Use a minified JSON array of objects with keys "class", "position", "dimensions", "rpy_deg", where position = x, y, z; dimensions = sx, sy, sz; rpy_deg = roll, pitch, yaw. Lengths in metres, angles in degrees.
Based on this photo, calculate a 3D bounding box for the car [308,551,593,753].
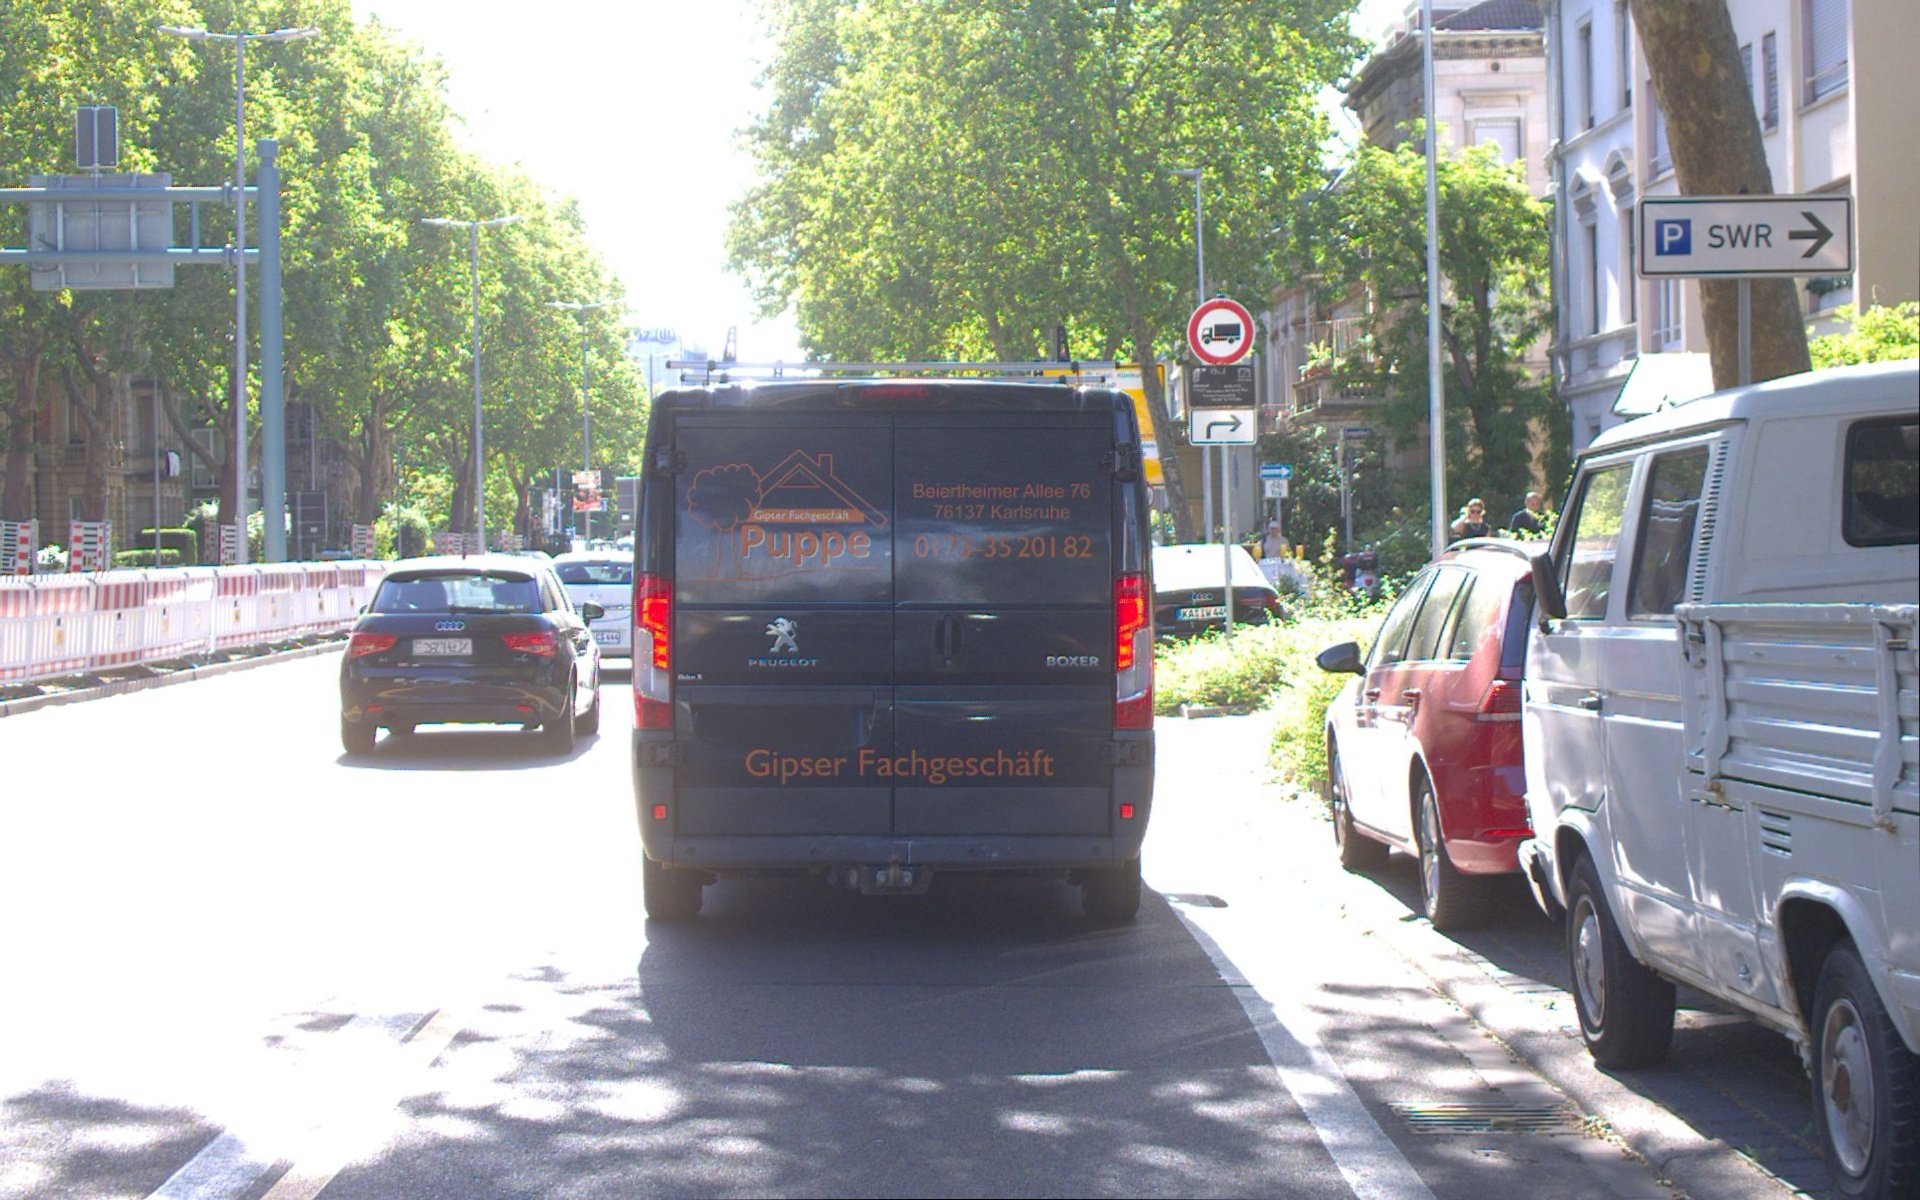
[{"class":"car","position":[-3.783,0.341,26.111],"dimensions":[1.746,1.402,4.001],"rpy_deg":[1,1,-3]}]

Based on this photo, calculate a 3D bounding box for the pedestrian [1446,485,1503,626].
[{"class":"pedestrian","position":[6.518,-0.568,43.567],"dimensions":[0.675,1.749,0.875],"rpy_deg":[-1,1,8]}]

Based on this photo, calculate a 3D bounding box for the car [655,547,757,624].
[{"class":"car","position":[-4.186,-0.259,56.945],"dimensions":[1.421,1.221,3.438],"rpy_deg":[-1,1,0]}]

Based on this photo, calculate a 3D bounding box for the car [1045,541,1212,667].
[{"class":"car","position":[1.985,0.016,41.340],"dimensions":[1.844,1.403,3.800],"rpy_deg":[-1,1,1]}]

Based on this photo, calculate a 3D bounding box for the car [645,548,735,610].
[{"class":"car","position":[-6.884,-0.557,87.898],"dimensions":[1.993,1.465,4.000],"rpy_deg":[1,2,0]}]

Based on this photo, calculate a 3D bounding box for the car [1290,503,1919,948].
[{"class":"car","position":[2.552,0.407,14.309],"dimensions":[1.821,1.502,4.677],"rpy_deg":[-2,1,-1]}]

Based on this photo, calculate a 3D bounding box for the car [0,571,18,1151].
[{"class":"car","position":[-3.241,0.669,6.157],"dimensions":[1.925,1.407,4.626],"rpy_deg":[1,1,-1]}]

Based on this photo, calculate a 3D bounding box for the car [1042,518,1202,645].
[{"class":"car","position":[2.223,-0.273,48.128],"dimensions":[1.844,1.638,3.801],"rpy_deg":[-2,1,-2]}]

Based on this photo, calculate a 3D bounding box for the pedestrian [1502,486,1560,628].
[{"class":"pedestrian","position":[7.170,-0.541,43.209],"dimensions":[0.654,1.749,1.013],"rpy_deg":[-1,1,8]}]

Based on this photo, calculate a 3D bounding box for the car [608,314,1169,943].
[{"class":"car","position":[-0.339,0.054,14.824],"dimensions":[2.095,2.347,3.933],"rpy_deg":[0,2,-2]}]

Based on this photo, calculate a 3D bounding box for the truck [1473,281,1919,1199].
[{"class":"truck","position":[2.654,0.290,8.661],"dimensions":[1.876,1.875,4.454],"rpy_deg":[-2,1,-2]}]

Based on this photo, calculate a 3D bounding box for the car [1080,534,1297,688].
[{"class":"car","position":[2.266,0.073,35.172],"dimensions":[1.844,1.437,4.487],"rpy_deg":[-1,1,-1]}]

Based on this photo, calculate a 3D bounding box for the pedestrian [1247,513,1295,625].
[{"class":"pedestrian","position":[5.691,-0.572,62.945],"dimensions":[0.798,2.007,1.168],"rpy_deg":[-1,1,4]}]

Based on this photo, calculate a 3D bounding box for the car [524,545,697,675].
[{"class":"car","position":[-4.002,0.092,39.841],"dimensions":[1.548,1.420,3.555],"rpy_deg":[-1,1,1]}]
